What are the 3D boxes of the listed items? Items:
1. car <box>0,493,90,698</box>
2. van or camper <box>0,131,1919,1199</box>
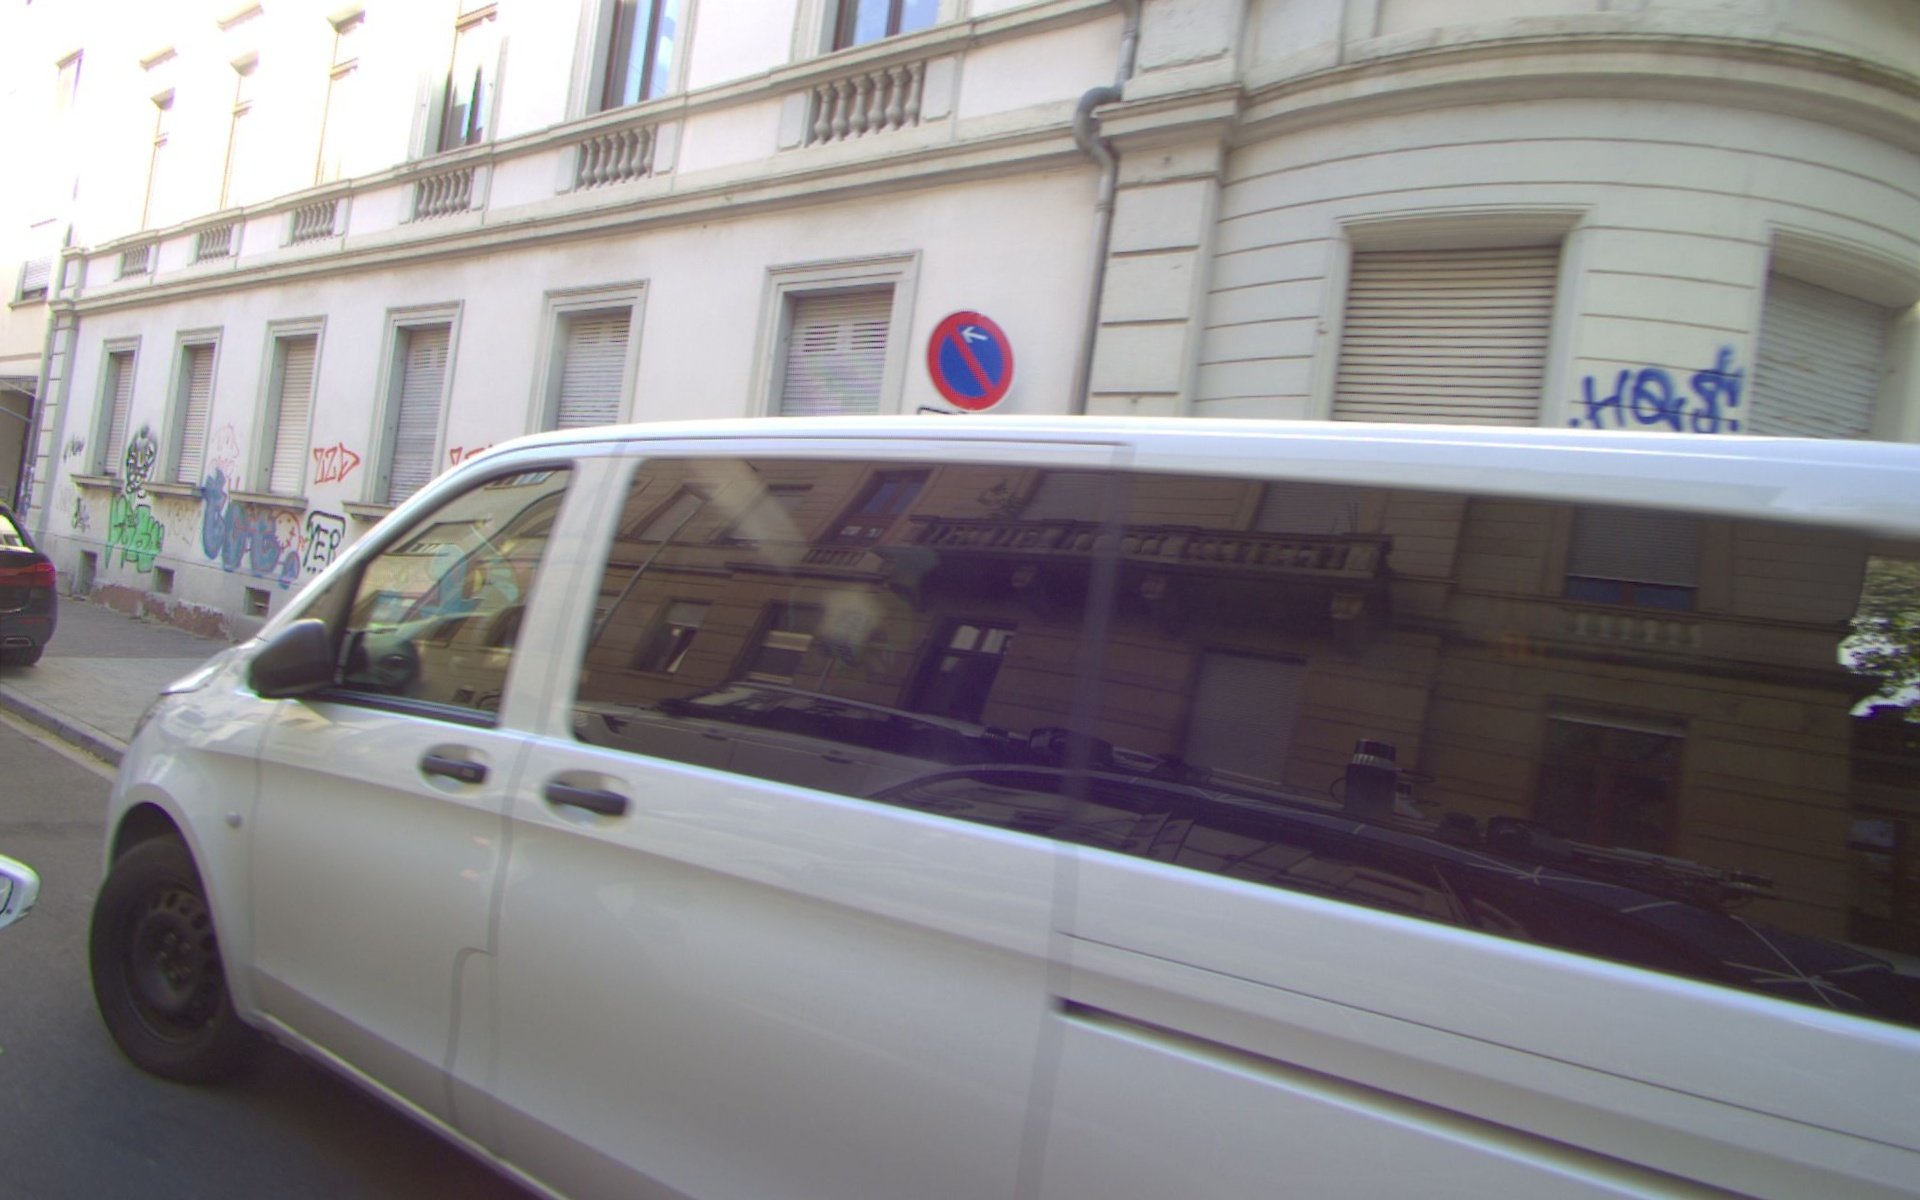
[{"bbox_3d":[-9.546,-0.356,8.603,4.650,1.535,1.820,7,-4,33],"label":"car"},{"bbox_3d":[-0.295,0.529,2.542,4.947,2.037,1.898,7,-1,32],"label":"van or camper"}]
